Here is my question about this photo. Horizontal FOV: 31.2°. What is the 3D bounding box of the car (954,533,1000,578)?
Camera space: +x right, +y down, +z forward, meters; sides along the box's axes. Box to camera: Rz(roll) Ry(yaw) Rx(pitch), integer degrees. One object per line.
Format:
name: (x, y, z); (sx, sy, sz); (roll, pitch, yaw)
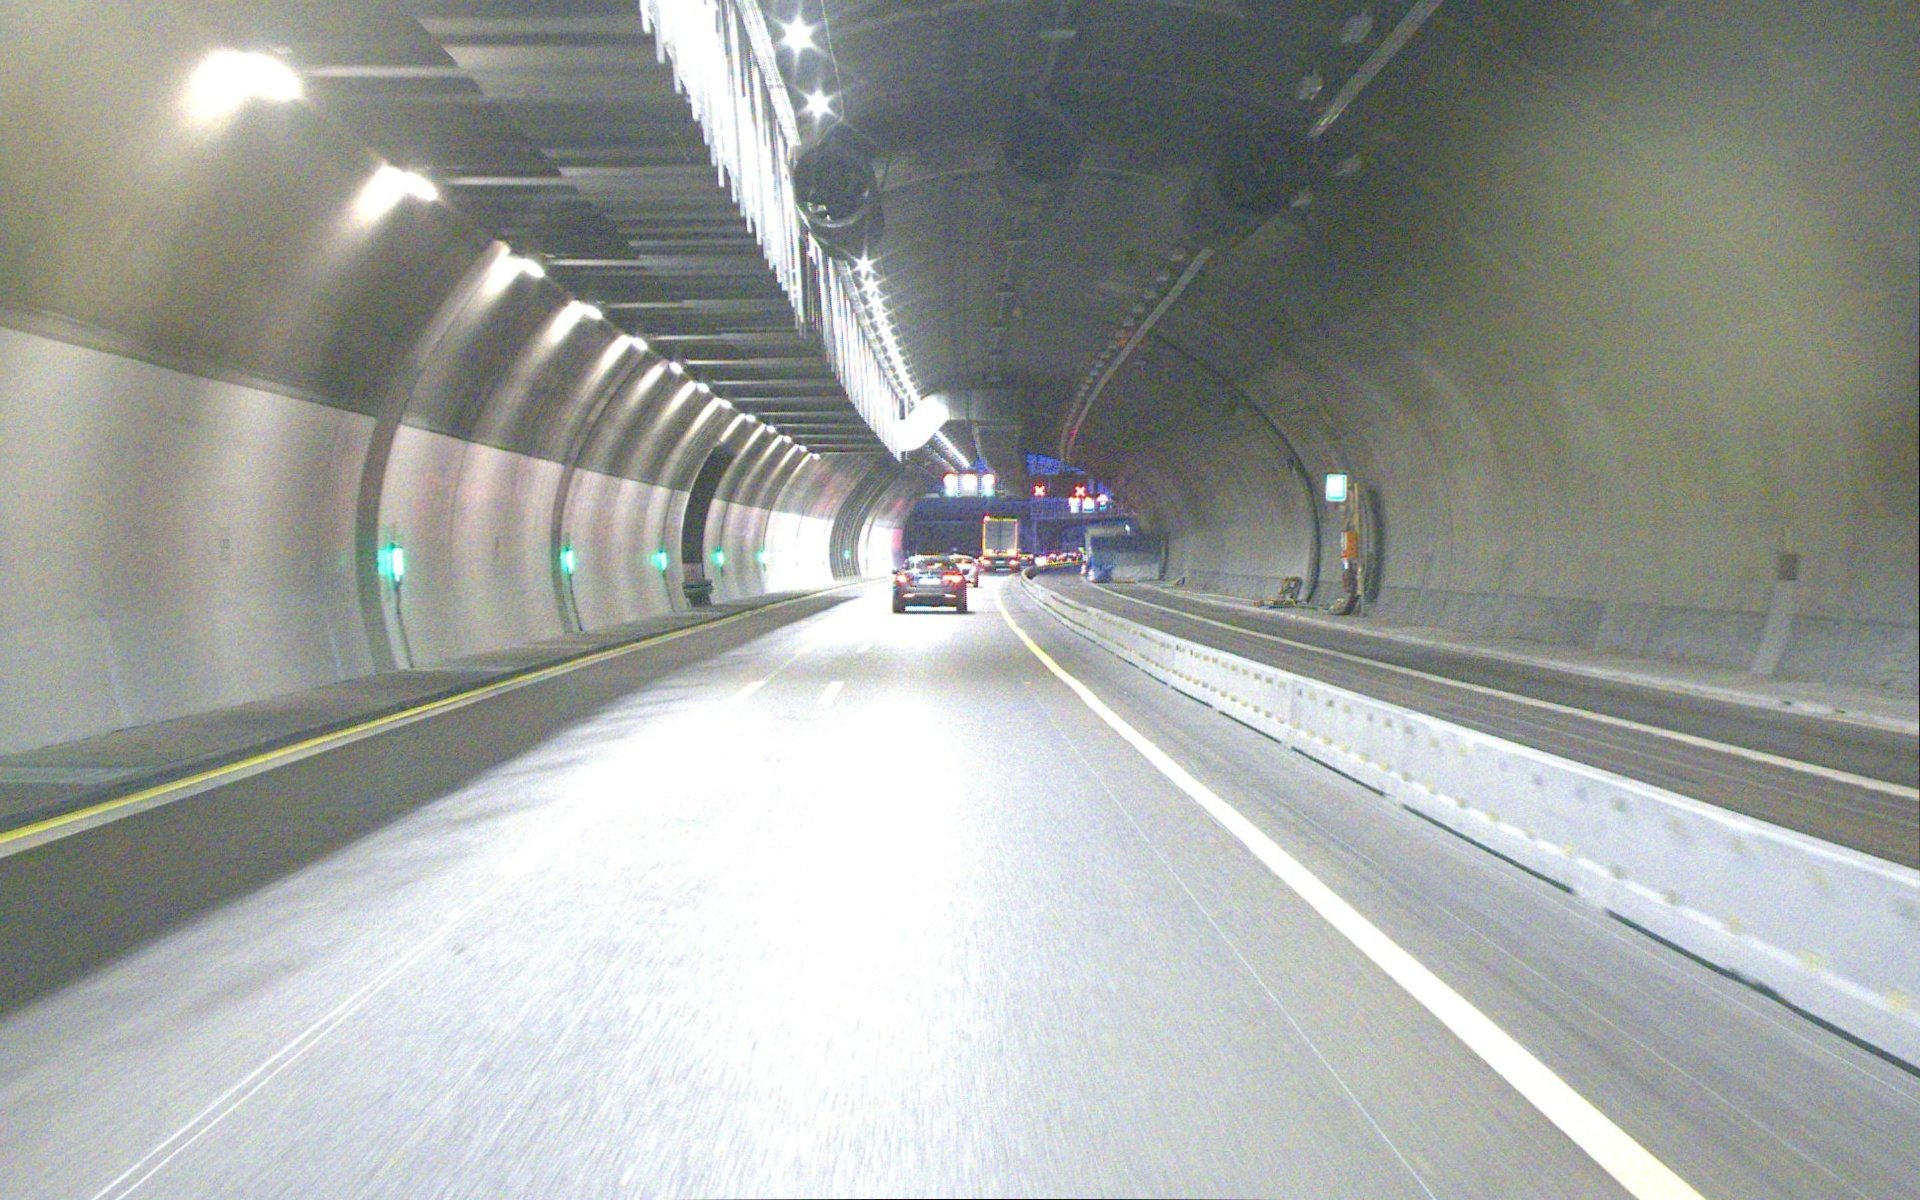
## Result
car: (0.769, -2.000, 154.981); (1.993, 2.007, 4.000); (0, 1, -1)

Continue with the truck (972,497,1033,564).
truck: (3.244, -5.201, 258.898); (4.546, 4.970, 9.599); (0, 1, 1)

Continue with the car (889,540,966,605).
car: (-0.835, -0.698, 86.965); (1.887, 1.601, 4.000); (0, 1, -1)

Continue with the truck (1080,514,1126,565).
truck: (9.406, -3.954, 226.685); (2.892, 3.261, 8.401); (0, 1, 2)

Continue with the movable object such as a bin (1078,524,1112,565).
movable object such as a bin: (9.220, -3.790, 235.918); (2.238, 2.784, 7.232); (0, 1, 2)
